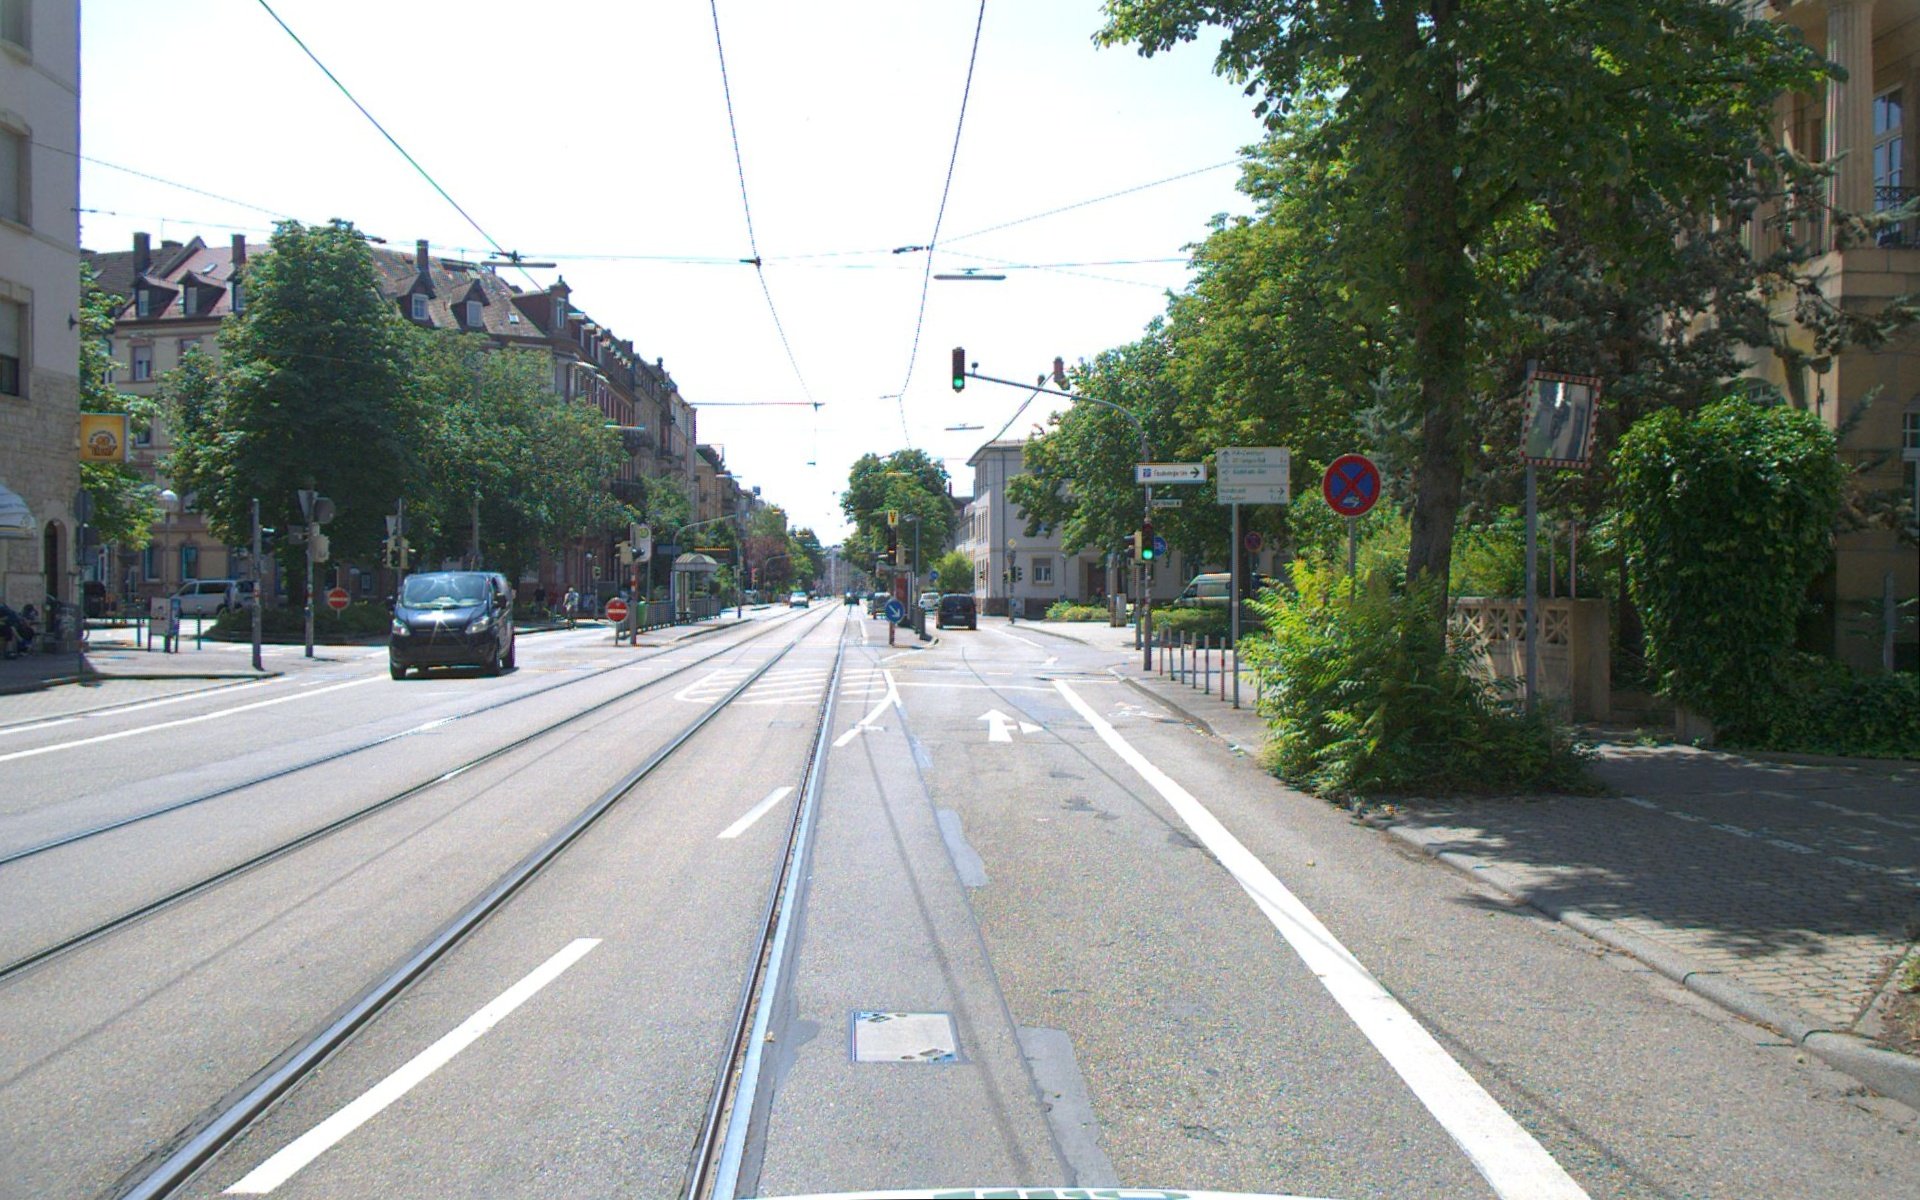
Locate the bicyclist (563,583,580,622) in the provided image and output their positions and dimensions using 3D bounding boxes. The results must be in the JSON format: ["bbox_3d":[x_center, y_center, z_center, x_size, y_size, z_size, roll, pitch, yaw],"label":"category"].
[{"bbox_3d":[-16.194,0.112,68.945,0.596,1.602,0.585,1,-1,-5],"label":"bicyclist"}]

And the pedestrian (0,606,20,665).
[{"bbox_3d":[-18.267,0.676,31.630,0.348,1.108,0.405,1,-1,-8],"label":"pedestrian"}]

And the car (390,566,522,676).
[{"bbox_3d":[-9.814,0.408,32.543,1.810,1.972,4.812,-1,0,-9],"label":"car"}]

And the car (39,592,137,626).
[{"bbox_3d":[-39.790,0.415,75.495,3.651,1.467,1.542,1,-1,4],"label":"car"}]

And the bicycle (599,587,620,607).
[{"bbox_3d":[-21.731,-0.178,102.577,0.357,1.189,1.516,2,0,29],"label":"bicycle"}]

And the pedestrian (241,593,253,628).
[{"bbox_3d":[-36.793,0.536,85.398,0.500,1.799,0.524,2,-1,-26],"label":"pedestrian"}]

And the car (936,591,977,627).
[{"bbox_3d":[-0.154,0.373,70.079,1.495,1.470,3.362,-1,0,-4],"label":"car"}]

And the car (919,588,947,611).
[{"bbox_3d":[-1.925,-0.043,116.819,1.713,1.498,3.934,-3,0,-5],"label":"car"}]

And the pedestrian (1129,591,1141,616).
[{"bbox_3d":[7.738,0.154,73.112,0.499,1.111,0.478,-1,1,1],"label":"pedestrian"}]

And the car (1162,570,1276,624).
[{"bbox_3d":[13.124,-0.149,84.244,1.985,2.635,5.756,0,0,-44],"label":"car"}]

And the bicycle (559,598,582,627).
[{"bbox_3d":[-16.202,0.500,68.860,0.616,1.177,1.976,1,0,-5],"label":"bicycle"}]

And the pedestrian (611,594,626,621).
[{"bbox_3d":[-20.692,0.460,100.234,0.461,1.643,0.649,4,1,43],"label":"pedestrian"}]

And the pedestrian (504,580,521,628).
[{"bbox_3d":[-17.962,0.172,66.389,0.500,1.912,0.494,1,-1,0],"label":"pedestrian"}]

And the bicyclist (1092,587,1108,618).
[{"bbox_3d":[7.651,0.157,90.521,0.680,1.675,0.579,1,-1,29],"label":"bicyclist"}]

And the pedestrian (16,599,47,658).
[{"bbox_3d":[-18.408,0.565,32.793,0.397,1.168,0.405,1,-1,-8],"label":"pedestrian"}]

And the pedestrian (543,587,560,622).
[{"bbox_3d":[-19.536,0.224,79.118,0.667,1.633,0.771,1,-1,-8],"label":"pedestrian"}]

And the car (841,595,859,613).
[{"bbox_3d":[-12.680,0.454,190.034,2.007,2.049,4.602,1,-1,-4],"label":"car"}]

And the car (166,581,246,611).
[{"bbox_3d":[-38.453,-0.196,84.364,3.652,1.467,1.542,1,-1,20],"label":"car"}]

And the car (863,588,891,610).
[{"bbox_3d":[-5.665,-0.048,112.772,1.497,1.481,3.357,-1,0,-9],"label":"car"}]
